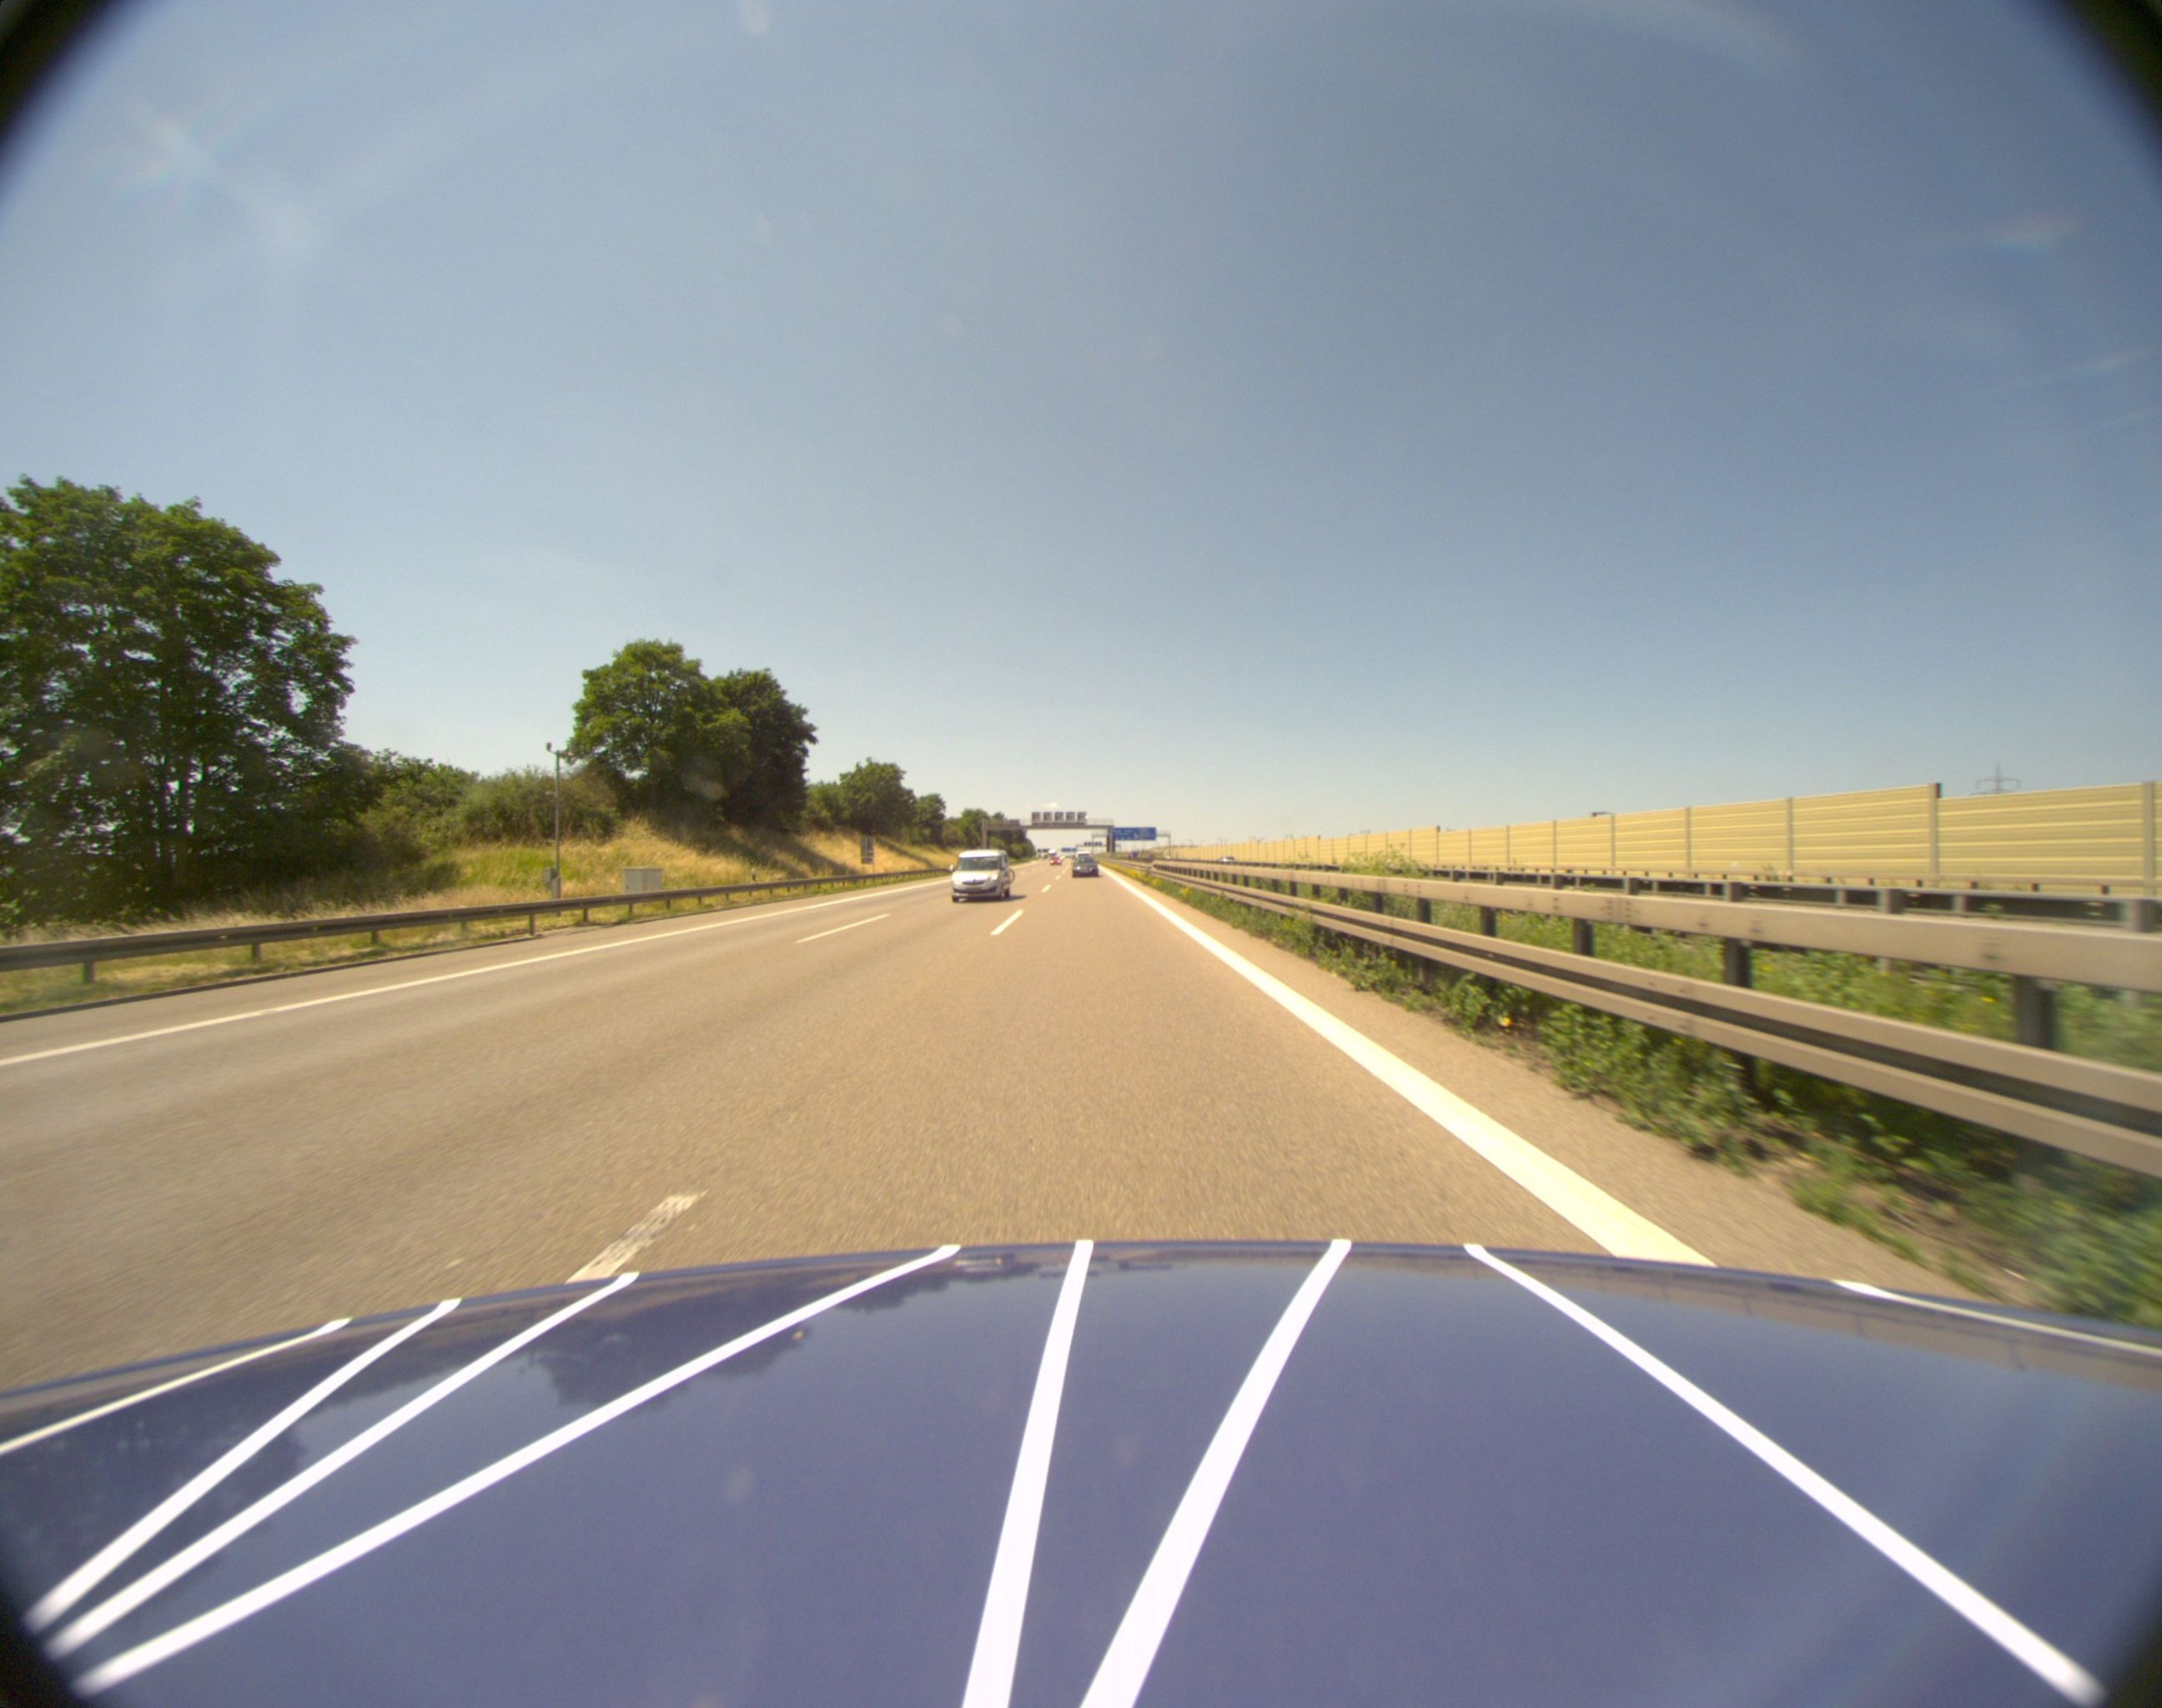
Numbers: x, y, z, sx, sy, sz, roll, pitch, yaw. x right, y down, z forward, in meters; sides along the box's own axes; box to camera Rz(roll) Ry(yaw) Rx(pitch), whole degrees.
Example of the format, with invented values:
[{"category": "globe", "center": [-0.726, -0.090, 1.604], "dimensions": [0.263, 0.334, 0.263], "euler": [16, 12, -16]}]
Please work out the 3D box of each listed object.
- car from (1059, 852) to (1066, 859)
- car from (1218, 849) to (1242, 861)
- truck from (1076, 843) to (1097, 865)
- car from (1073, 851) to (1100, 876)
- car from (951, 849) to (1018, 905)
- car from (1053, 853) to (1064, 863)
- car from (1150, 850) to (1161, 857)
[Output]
[{"category": "car", "center": [-4.419, 0.298, 182.130], "dimensions": [1.723, 1.514, 3.581], "euler": [-2, 1, -1]}, {"category": "car", "center": [18.294, 0.076, 93.703], "dimensions": [1.998, 1.455, 4.813], "euler": [-1, 0, 0]}, {"category": "truck", "center": [0.607, -0.028, 91.437], "dimensions": [2.333, 2.378, 6.686], "euler": [-2, 1, -1]}, {"category": "car", "center": [0.346, 0.648, 52.846], "dimensions": [1.715, 1.586, 4.546], "euler": [-2, 0, -1]}, {"category": "car", "center": [-3.480, 0.773, 28.383], "dimensions": [1.812, 1.836, 5.311], "euler": [-2, 0, -1]}, {"category": "car", "center": [-3.537, 0.609, 119.776], "dimensions": [1.723, 1.514, 3.581], "euler": [-2, 1, -1]}, {"category": "car", "center": [16.778, -0.190, 171.750], "dimensions": [1.901, 1.561, 5.246], "euler": [1, 0, 0]}]
